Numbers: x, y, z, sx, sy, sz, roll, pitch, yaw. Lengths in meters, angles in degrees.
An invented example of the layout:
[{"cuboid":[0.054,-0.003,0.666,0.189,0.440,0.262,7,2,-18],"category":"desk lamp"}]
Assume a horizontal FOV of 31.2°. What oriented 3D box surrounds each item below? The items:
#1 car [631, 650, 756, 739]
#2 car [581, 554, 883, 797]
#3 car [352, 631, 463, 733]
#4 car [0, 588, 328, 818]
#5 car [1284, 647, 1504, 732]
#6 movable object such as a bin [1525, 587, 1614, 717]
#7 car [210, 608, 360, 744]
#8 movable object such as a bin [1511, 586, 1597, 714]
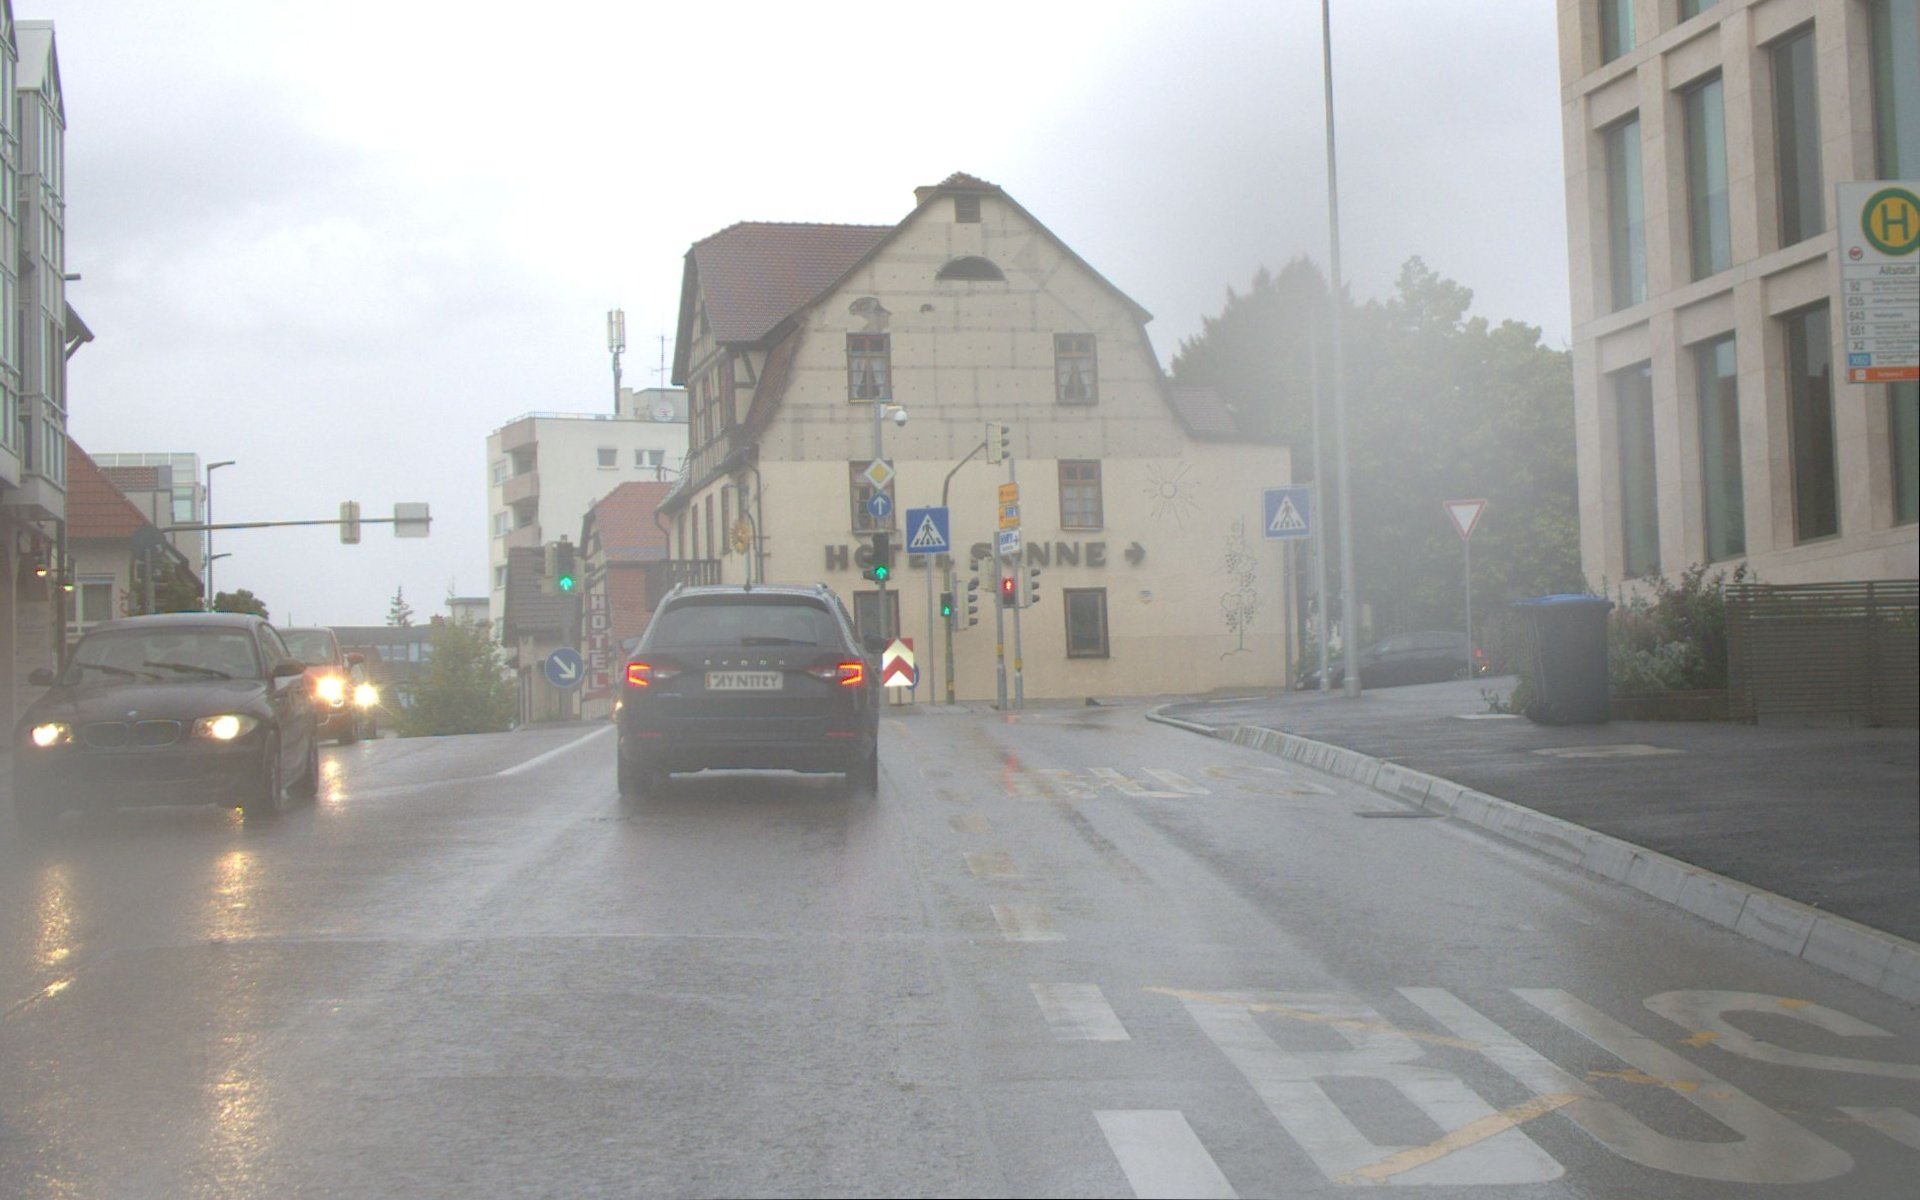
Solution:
[{"cuboid":[-4.791,1.660,61.399,1.886,1.462,4.001,-2,0,-8],"category":"car"},{"cuboid":[-1.613,0.482,24.695,1.944,1.561,4.418,-1,0,-3],"category":"car"},{"cuboid":[-9.464,1.380,59.091,1.781,1.624,4.217,-1,0,-8],"category":"car"},{"cuboid":[-5.529,0.652,23.997,1.687,1.439,3.910,-1,0,-3],"category":"car"},{"cuboid":[9.454,1.960,75.019,4.300,1.500,1.778,-3,-5,-16],"category":"car"},{"cuboid":[5.049,0.426,28.504,0.595,1.058,0.579,-1,0,-1],"category":"movable object such as a bin"},{"cuboid":[-8.280,0.899,42.377,1.559,1.530,3.450,-3,0,-8],"category":"car"},{"cuboid":[5.053,0.422,29.256,0.595,1.058,0.579,-1,0,-1],"category":"movable object such as a bin"}]
